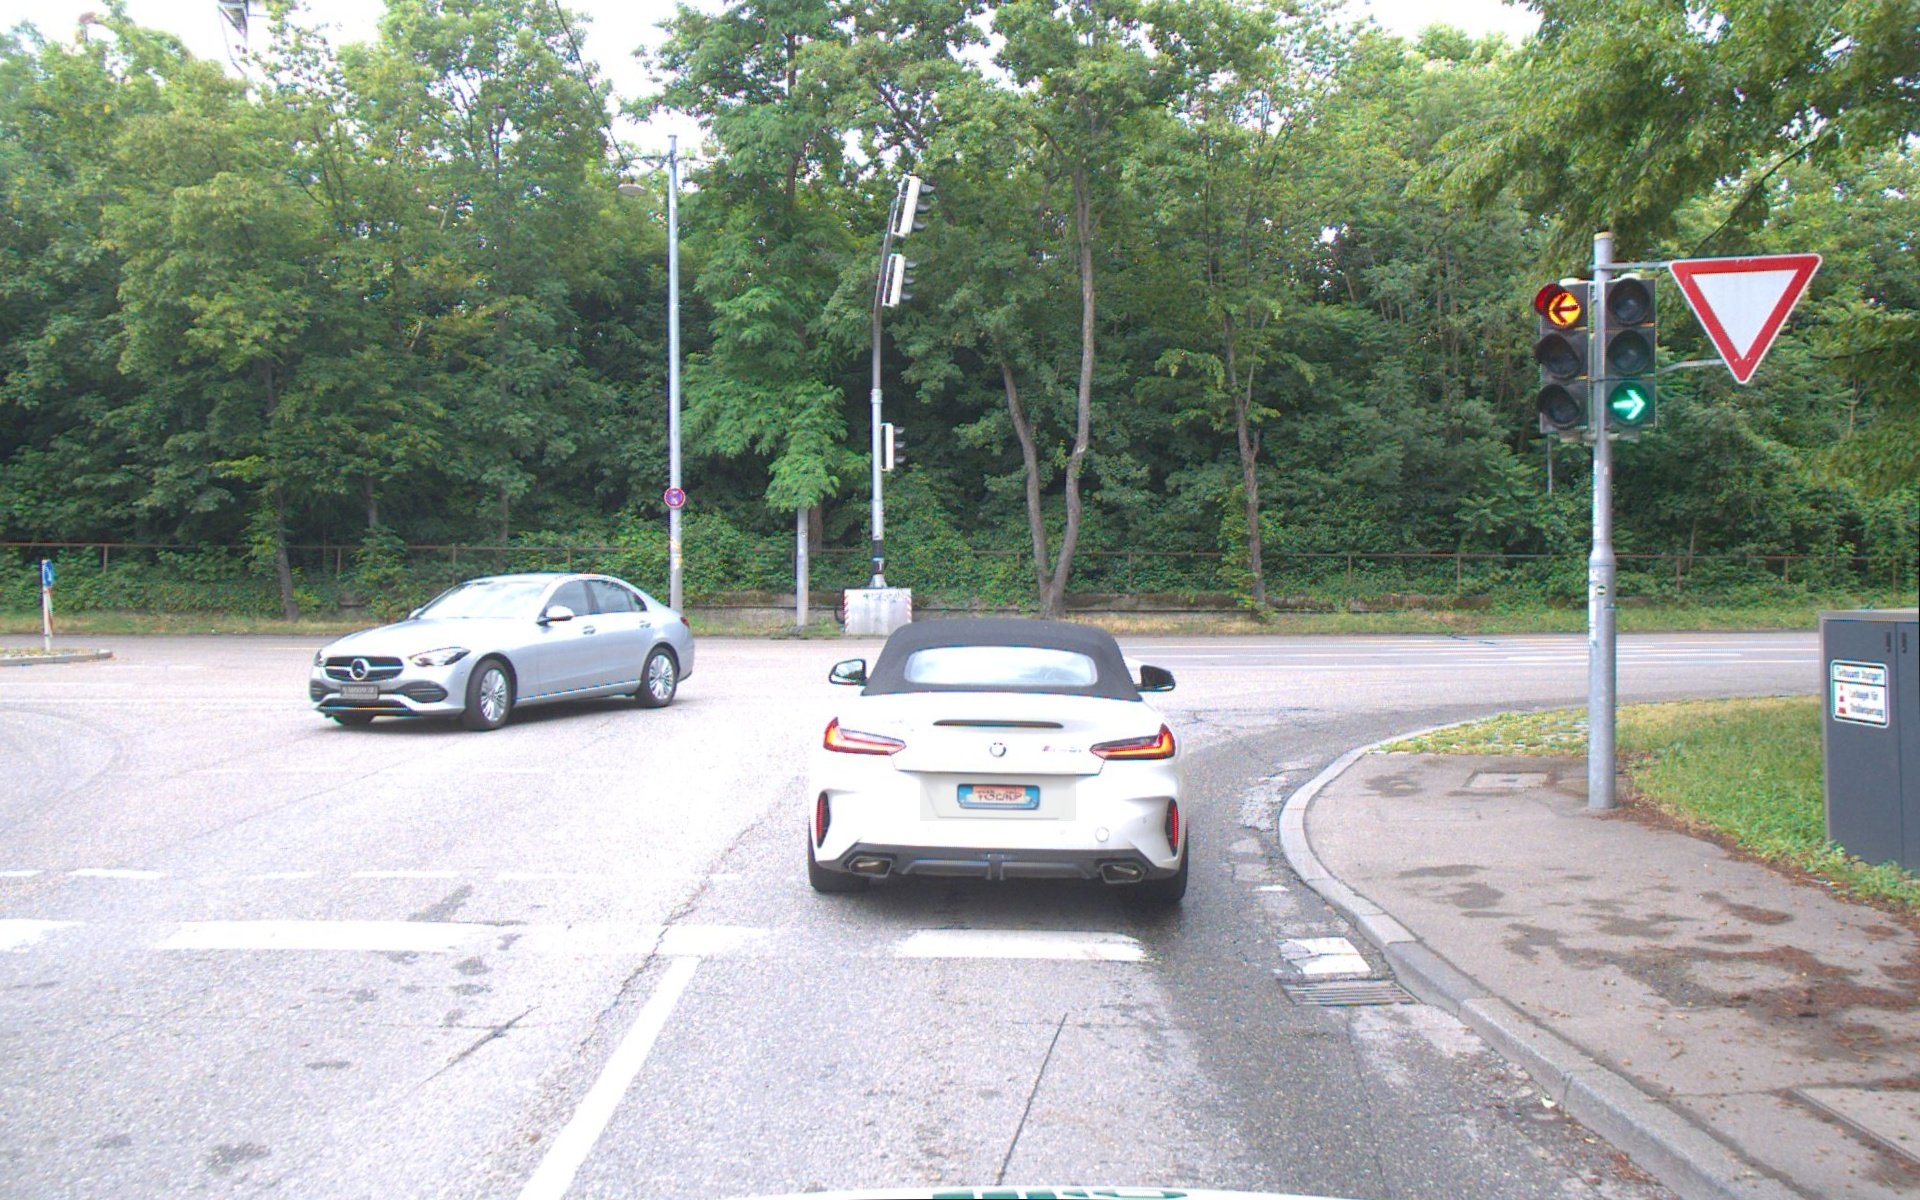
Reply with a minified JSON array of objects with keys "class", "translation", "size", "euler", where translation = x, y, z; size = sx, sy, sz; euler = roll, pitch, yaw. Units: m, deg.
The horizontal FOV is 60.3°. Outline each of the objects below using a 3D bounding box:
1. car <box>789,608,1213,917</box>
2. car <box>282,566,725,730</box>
[{"class":"car","translation":[0.186,0.760,9.068],"size":[1.790,1.279,3.999],"euler":[1,-2,0]},{"class":"car","translation":[-4.456,0.369,17.033],"size":[1.791,1.357,4.765],"euler":[1,2,24]}]
